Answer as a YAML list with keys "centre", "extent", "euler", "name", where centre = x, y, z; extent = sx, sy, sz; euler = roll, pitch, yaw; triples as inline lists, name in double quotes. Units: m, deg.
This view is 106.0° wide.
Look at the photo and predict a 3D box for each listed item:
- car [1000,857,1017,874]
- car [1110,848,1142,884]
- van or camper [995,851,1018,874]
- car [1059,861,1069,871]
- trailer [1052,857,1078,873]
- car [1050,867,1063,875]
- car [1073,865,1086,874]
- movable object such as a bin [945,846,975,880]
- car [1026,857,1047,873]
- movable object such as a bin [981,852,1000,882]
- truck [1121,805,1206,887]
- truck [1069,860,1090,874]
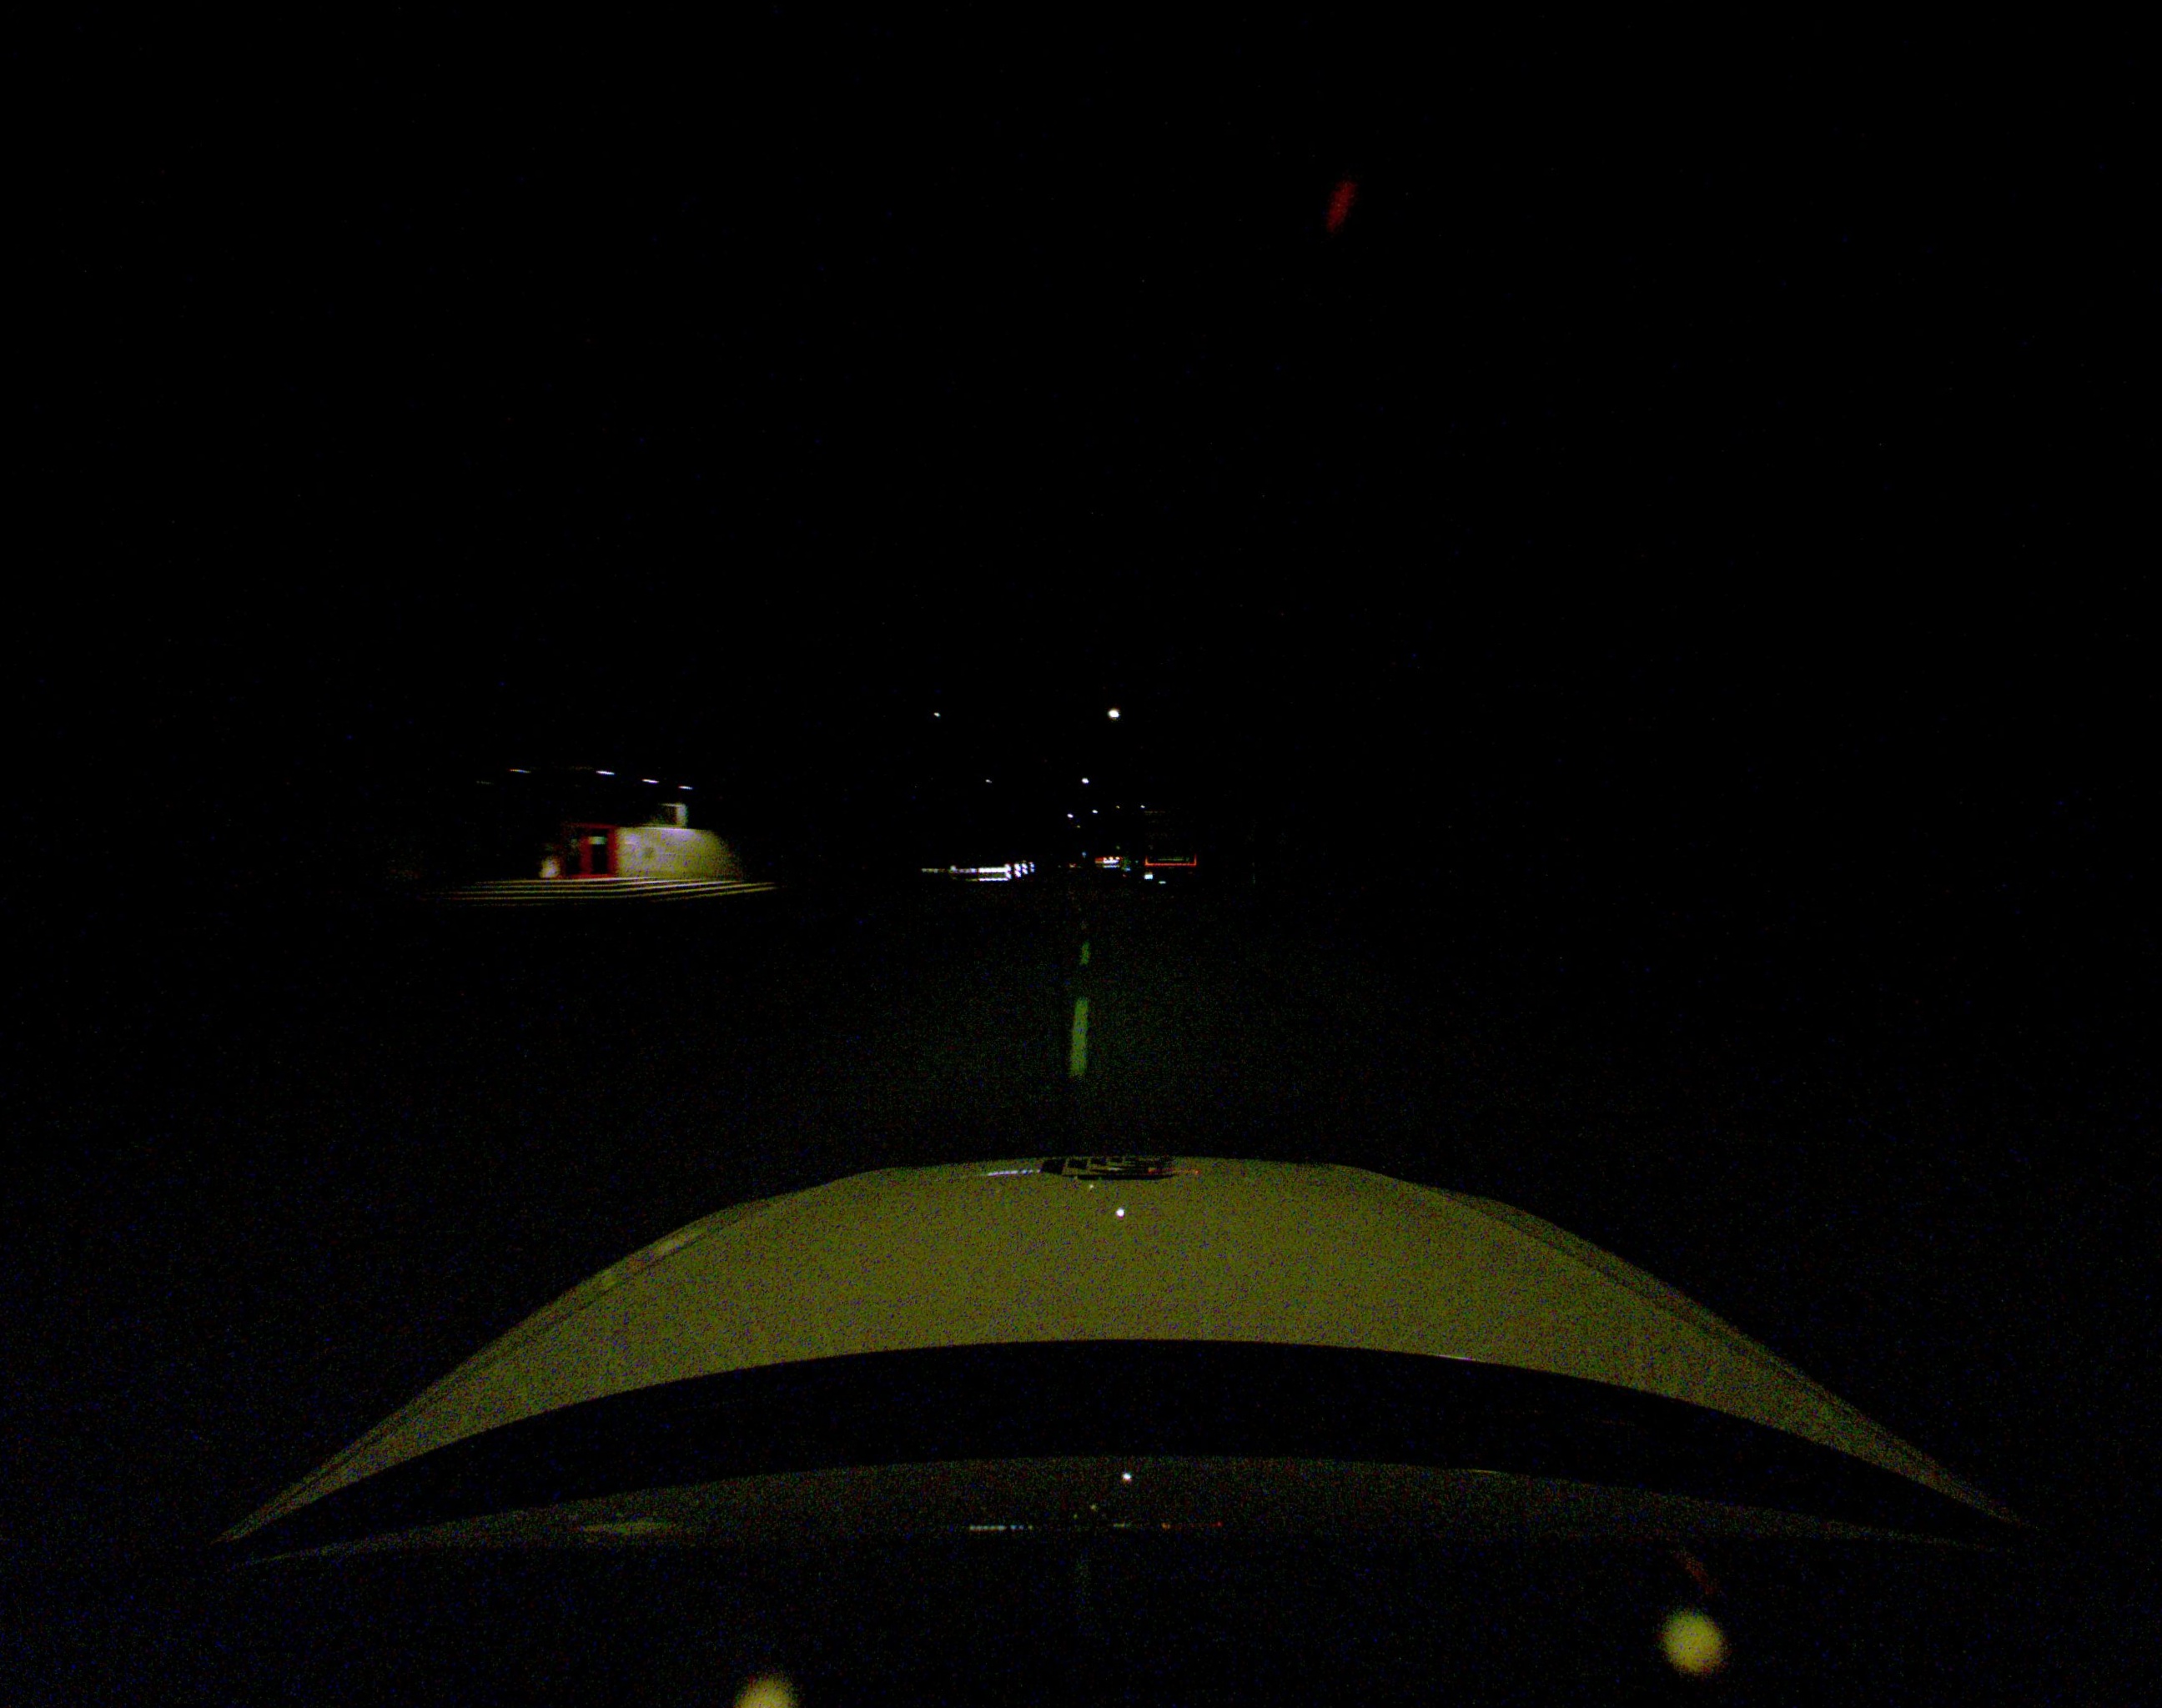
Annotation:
- centre: [-12.534, 2.044, 141.693]
  extent: [2.513, 2.927, 7.192]
  euler: [-2, -1, -3]
  name: "car"
- centre: [3.343, 0.848, 60.983]
  extent: [2.101, 2.516, 6.372]
  euler: [1, -1, 1]
  name: "car"
- centre: [-10.689, 1.292, 117.361]
  extent: [2.511, 3.094, 7.442]
  euler: [-2, -1, -1]
  name: "van or camper"
- centre: [-2.833, 2.004, 135.609]
  extent: [1.716, 1.661, 3.997]
  euler: [1, -2, -1]
  name: "car"
- centre: [-2.381, 1.672, 120.622]
  extent: [1.569, 2.161, 5.172]
  euler: [-1, -2, -29]
  name: "trailer"
- centre: [-5.647, 3.960, 187.966]
  extent: [1.980, 1.700, 4.220]
  euler: [0, -2, 13]
  name: "car"
- centre: [-0.302, 3.137, 164.178]
  extent: [1.708, 1.821, 4.014]
  euler: [0, -2, 13]
  name: "car"
- centre: [-8.995, 0.678, 60.529]
  extent: [1.555, 2.467, 2.818]
  euler: [-1, -2, -23]
  name: "movable object such as a bin"
- centre: [-9.367, 2.395, 172.014]
  extent: [2.502, 3.171, 7.160]
  euler: [-2, -1, 12]
  name: "car"
- centre: [-8.868, 1.248, 79.626]
  extent: [1.570, 2.734, 3.690]
  euler: [-3, 0, -9]
  name: "movable object such as a bin"
- centre: [4.185, -0.273, 43.575]
  extent: [3.315, 3.869, 9.319]
  euler: [1, -1, -2]
  name: "truck"
- centre: [-0.301, 3.365, 206.111]
  extent: [1.976, 3.404, 9.026]
  euler: [1, -1, 22]
  name: "truck"
